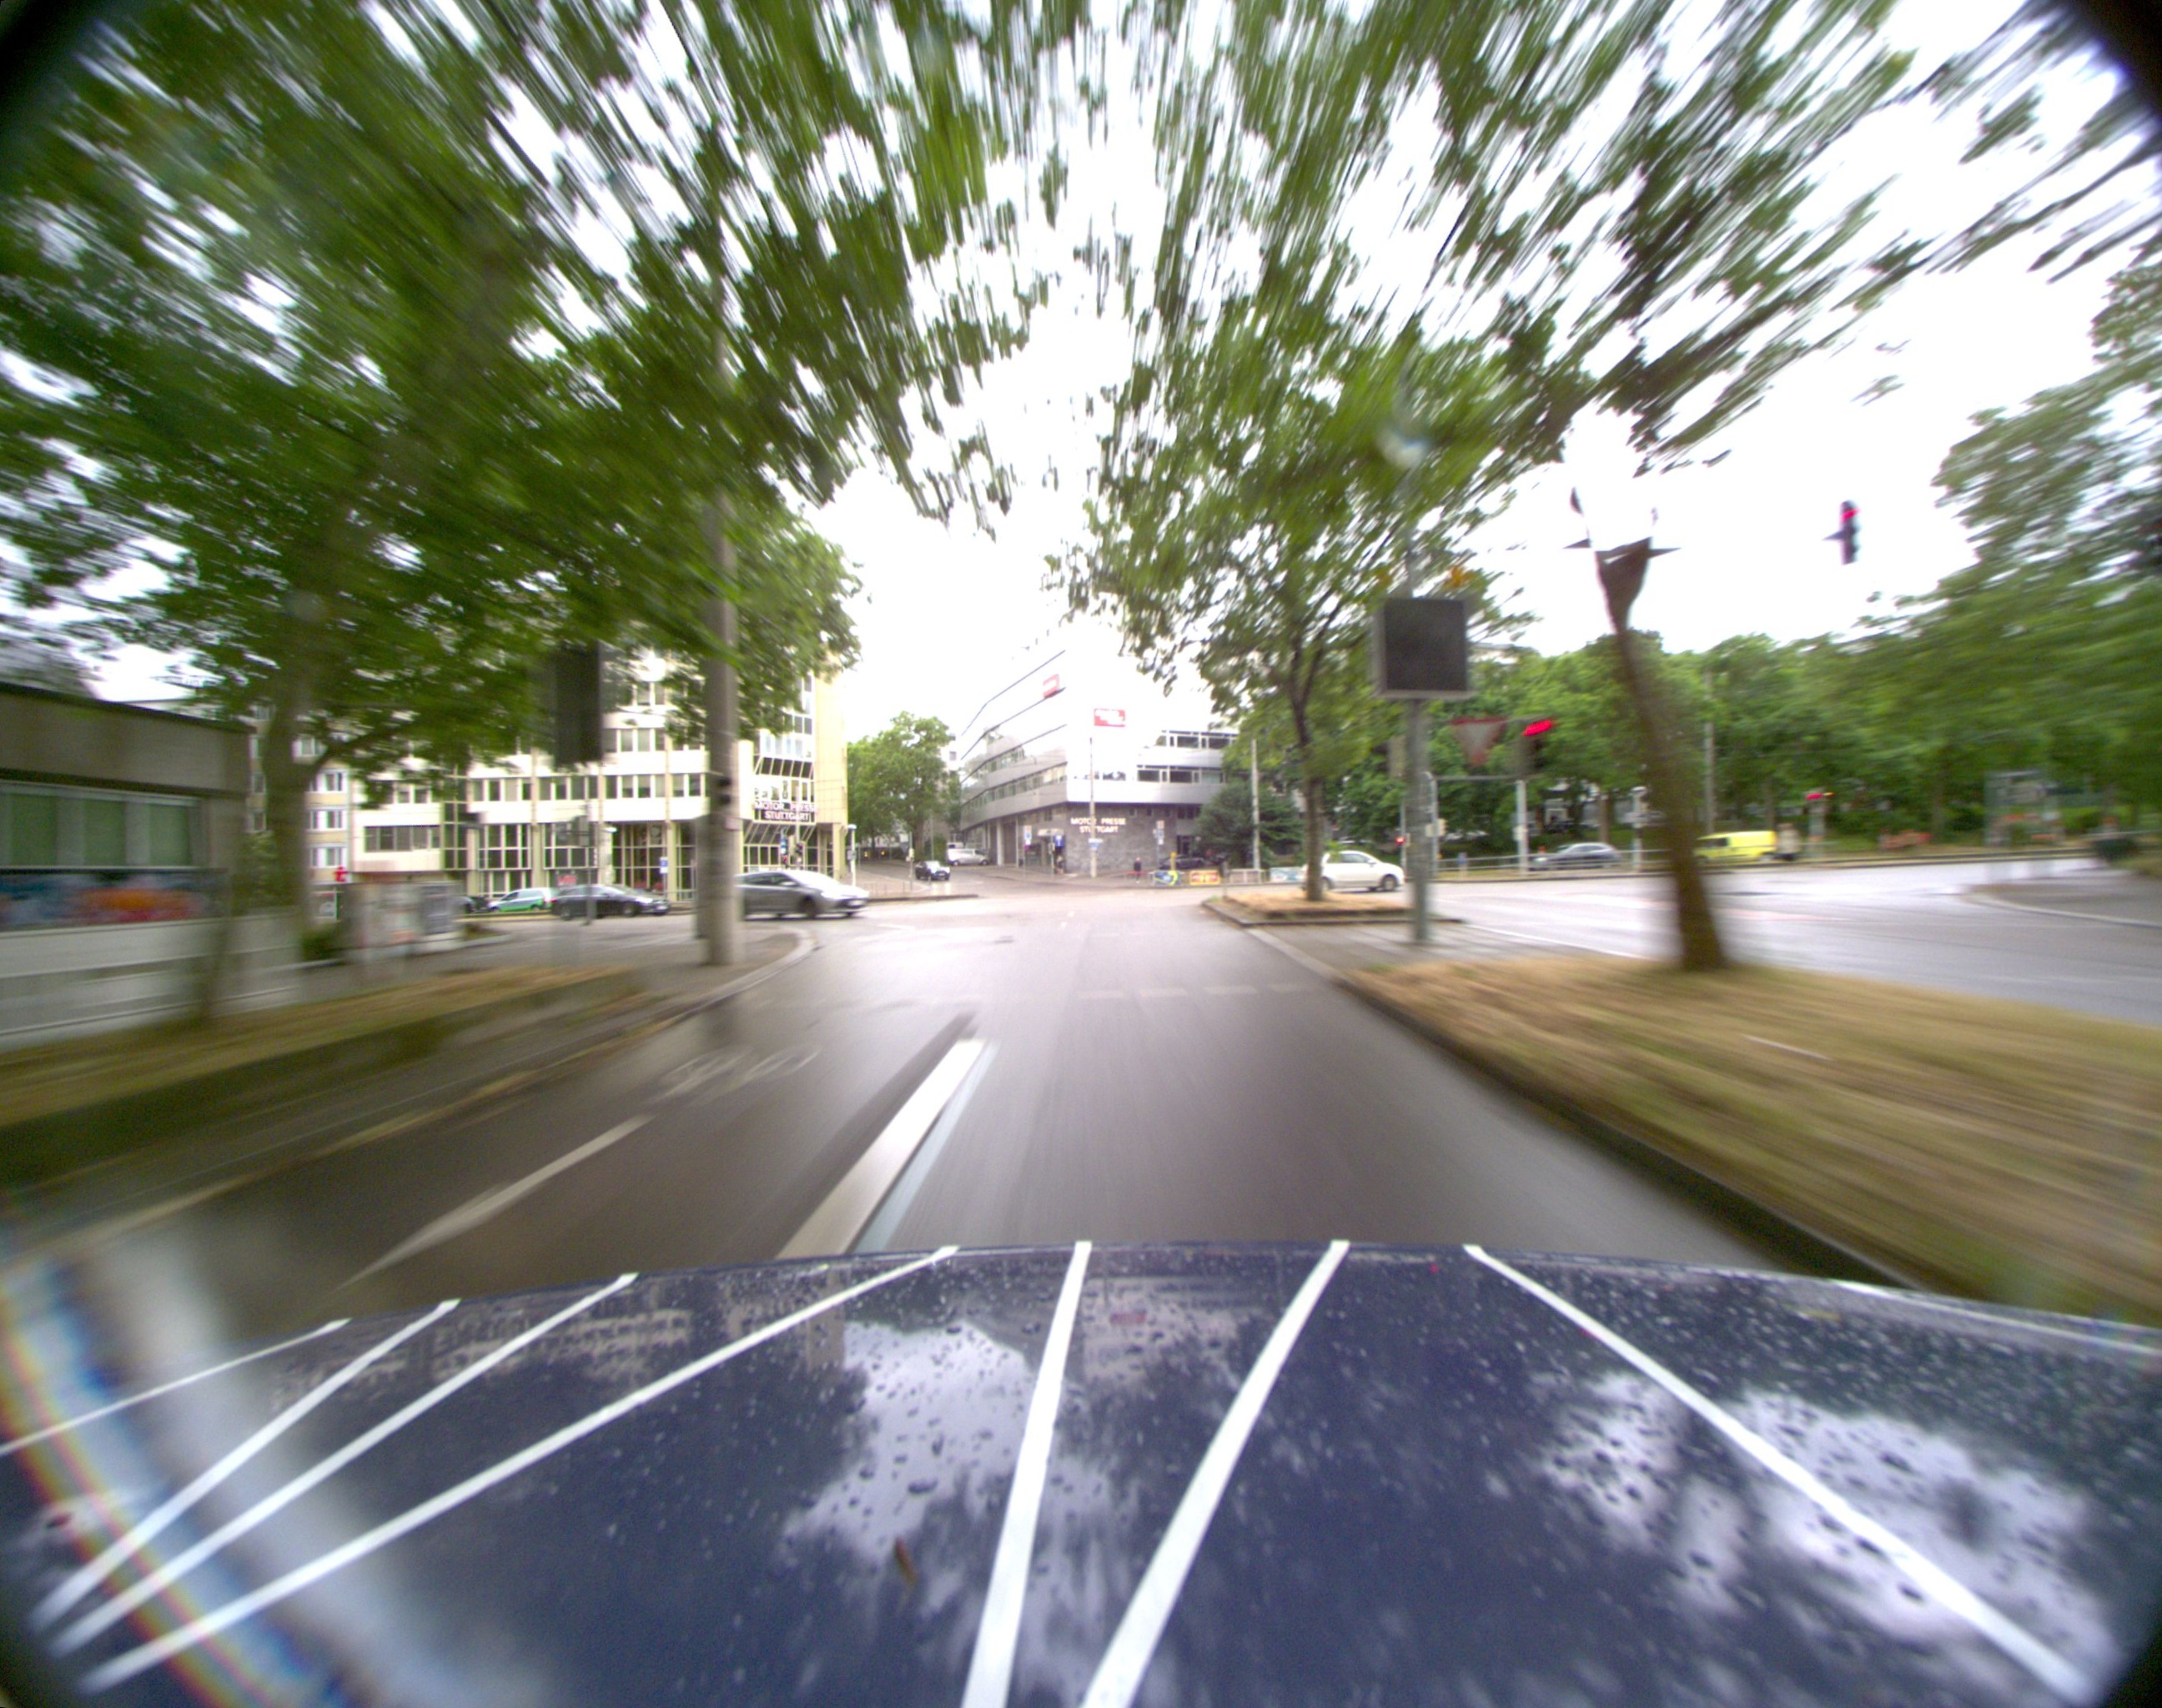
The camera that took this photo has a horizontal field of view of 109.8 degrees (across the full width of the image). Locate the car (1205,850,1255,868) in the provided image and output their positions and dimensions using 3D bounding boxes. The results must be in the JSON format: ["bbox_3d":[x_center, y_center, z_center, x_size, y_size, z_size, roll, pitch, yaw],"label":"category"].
[{"bbox_3d":[13.300,0.405,67.928,4.005,1.422,1.875,-2,-1,-26],"label":"car"}]

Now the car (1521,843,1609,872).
[{"bbox_3d":[27.401,0.220,43.090,3.677,1.536,1.927,-2,-2,5],"label":"car"}]

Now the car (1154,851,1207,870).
[{"bbox_3d":[8.587,0.582,65.694,4.098,1.422,1.875,-2,-1,-26],"label":"car"}]

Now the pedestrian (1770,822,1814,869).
[{"bbox_3d":[28.086,-0.310,30.037,0.868,1.791,0.872,-2,0,-7],"label":"pedestrian"}]

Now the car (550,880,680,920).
[{"bbox_3d":[-18.870,1.848,30.828,4.468,1.433,1.804,-3,-3,12],"label":"car"}]

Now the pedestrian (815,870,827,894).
[{"bbox_3d":[-17.517,1.883,51.197,0.720,1.629,0.759,-2,0,-23],"label":"pedestrian"}]

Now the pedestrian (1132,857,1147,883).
[{"bbox_3d":[4.254,1.157,55.391,0.720,1.850,0.847,-2,0,-23],"label":"pedestrian"}]

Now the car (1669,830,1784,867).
[{"bbox_3d":[35.884,-0.261,42.326,4.562,1.839,1.927,-2,-1,5],"label":"car"}]

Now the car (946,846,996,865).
[{"bbox_3d":[-12.755,0.175,87.920,5.417,2.001,1.998,-1,-3,-18],"label":"car"}]

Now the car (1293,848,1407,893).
[{"bbox_3d":[9.457,0.596,26.903,3.437,1.425,1.656,-2,-3,1],"label":"car"}]

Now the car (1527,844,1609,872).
[{"bbox_3d":[29.460,0.282,46.081,3.677,1.536,1.927,-2,-2,5],"label":"car"}]

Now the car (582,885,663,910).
[{"bbox_3d":[-29.695,2.805,49.288,4.212,1.468,1.803,-2,-3,5],"label":"car"}]

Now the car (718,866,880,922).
[{"bbox_3d":[-8.208,1.163,22.118,4.288,1.425,1.816,-3,-2,22],"label":"car"}]

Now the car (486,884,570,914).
[{"bbox_3d":[-36.385,2.972,50.042,4.213,1.736,1.802,-2,0,3],"label":"car"}]

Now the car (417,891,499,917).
[{"bbox_3d":[-41.400,3.320,50.536,4.073,1.504,1.802,-2,0,4],"label":"car"}]

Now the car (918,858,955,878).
[{"bbox_3d":[-12.795,1.195,67.196,2.002,1.571,4.875,-2,2,-25],"label":"car"}]
